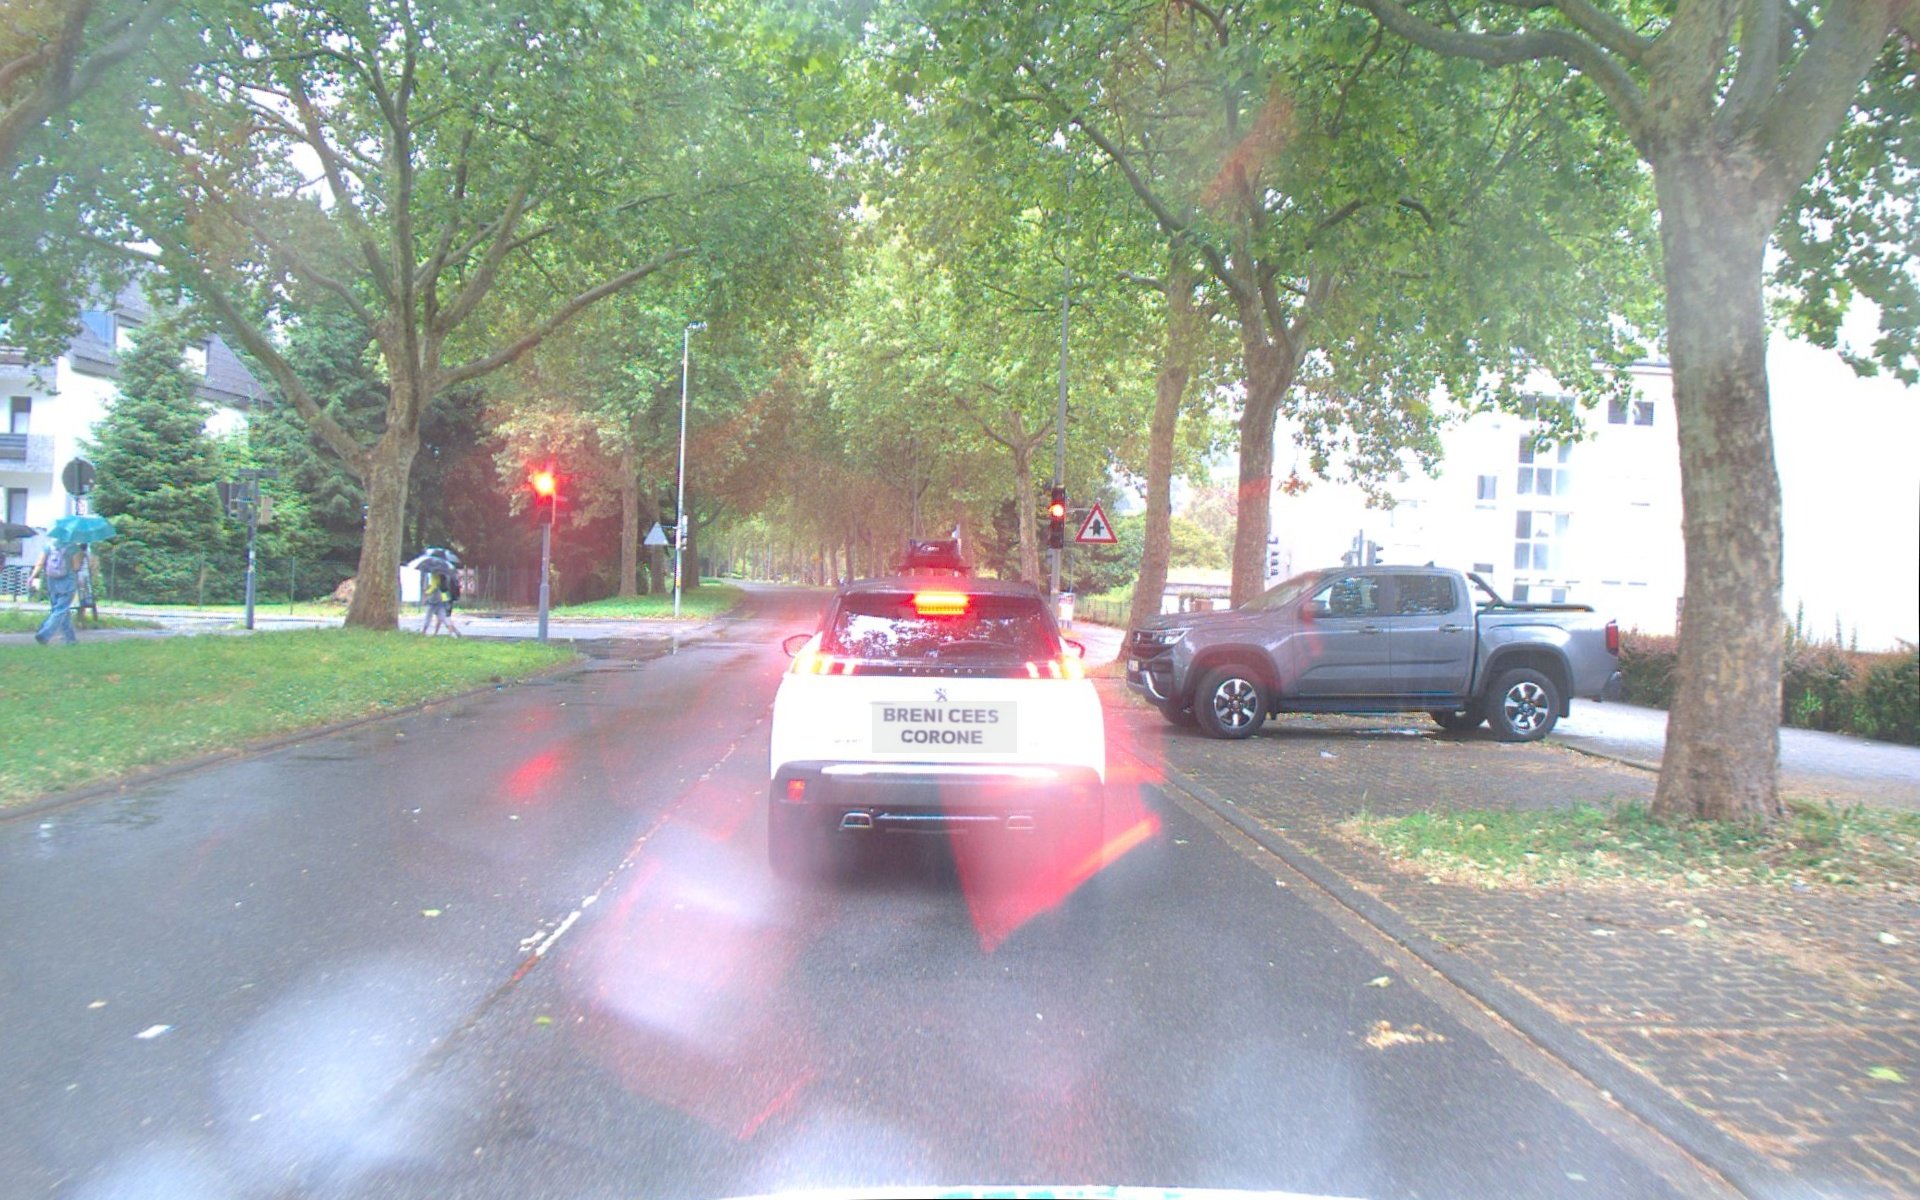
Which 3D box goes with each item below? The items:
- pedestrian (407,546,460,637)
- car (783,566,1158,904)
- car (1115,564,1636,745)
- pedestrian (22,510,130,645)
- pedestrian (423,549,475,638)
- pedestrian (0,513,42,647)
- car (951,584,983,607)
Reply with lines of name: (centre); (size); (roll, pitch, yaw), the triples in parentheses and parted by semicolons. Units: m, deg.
pedestrian: (-10.474, -0.170, 32.909); (0.804, 1.775, 0.639); (2, 0, -4)
car: (0.010, 0.615, 9.876); (1.744, 1.563, 4.057); (1, 1, -1)
car: (4.453, 0.527, 18.078); (5.238, 1.838, 1.842); (0, 1, -8)
pedestrian: (-12.132, -0.313, 22.726); (1.012, 1.796, 0.838); (1, 0, -1)
pedestrian: (-10.463, -0.126, 33.888); (0.842, 1.775, 0.639); (2, 0, -4)
pedestrian: (-13.311, -0.286, 22.598); (1.012, 1.796, 0.879); (1, 0, -1)
car: (0.454, -0.325, 113.773); (1.868, 1.536, 3.928); (2, 1, -5)
